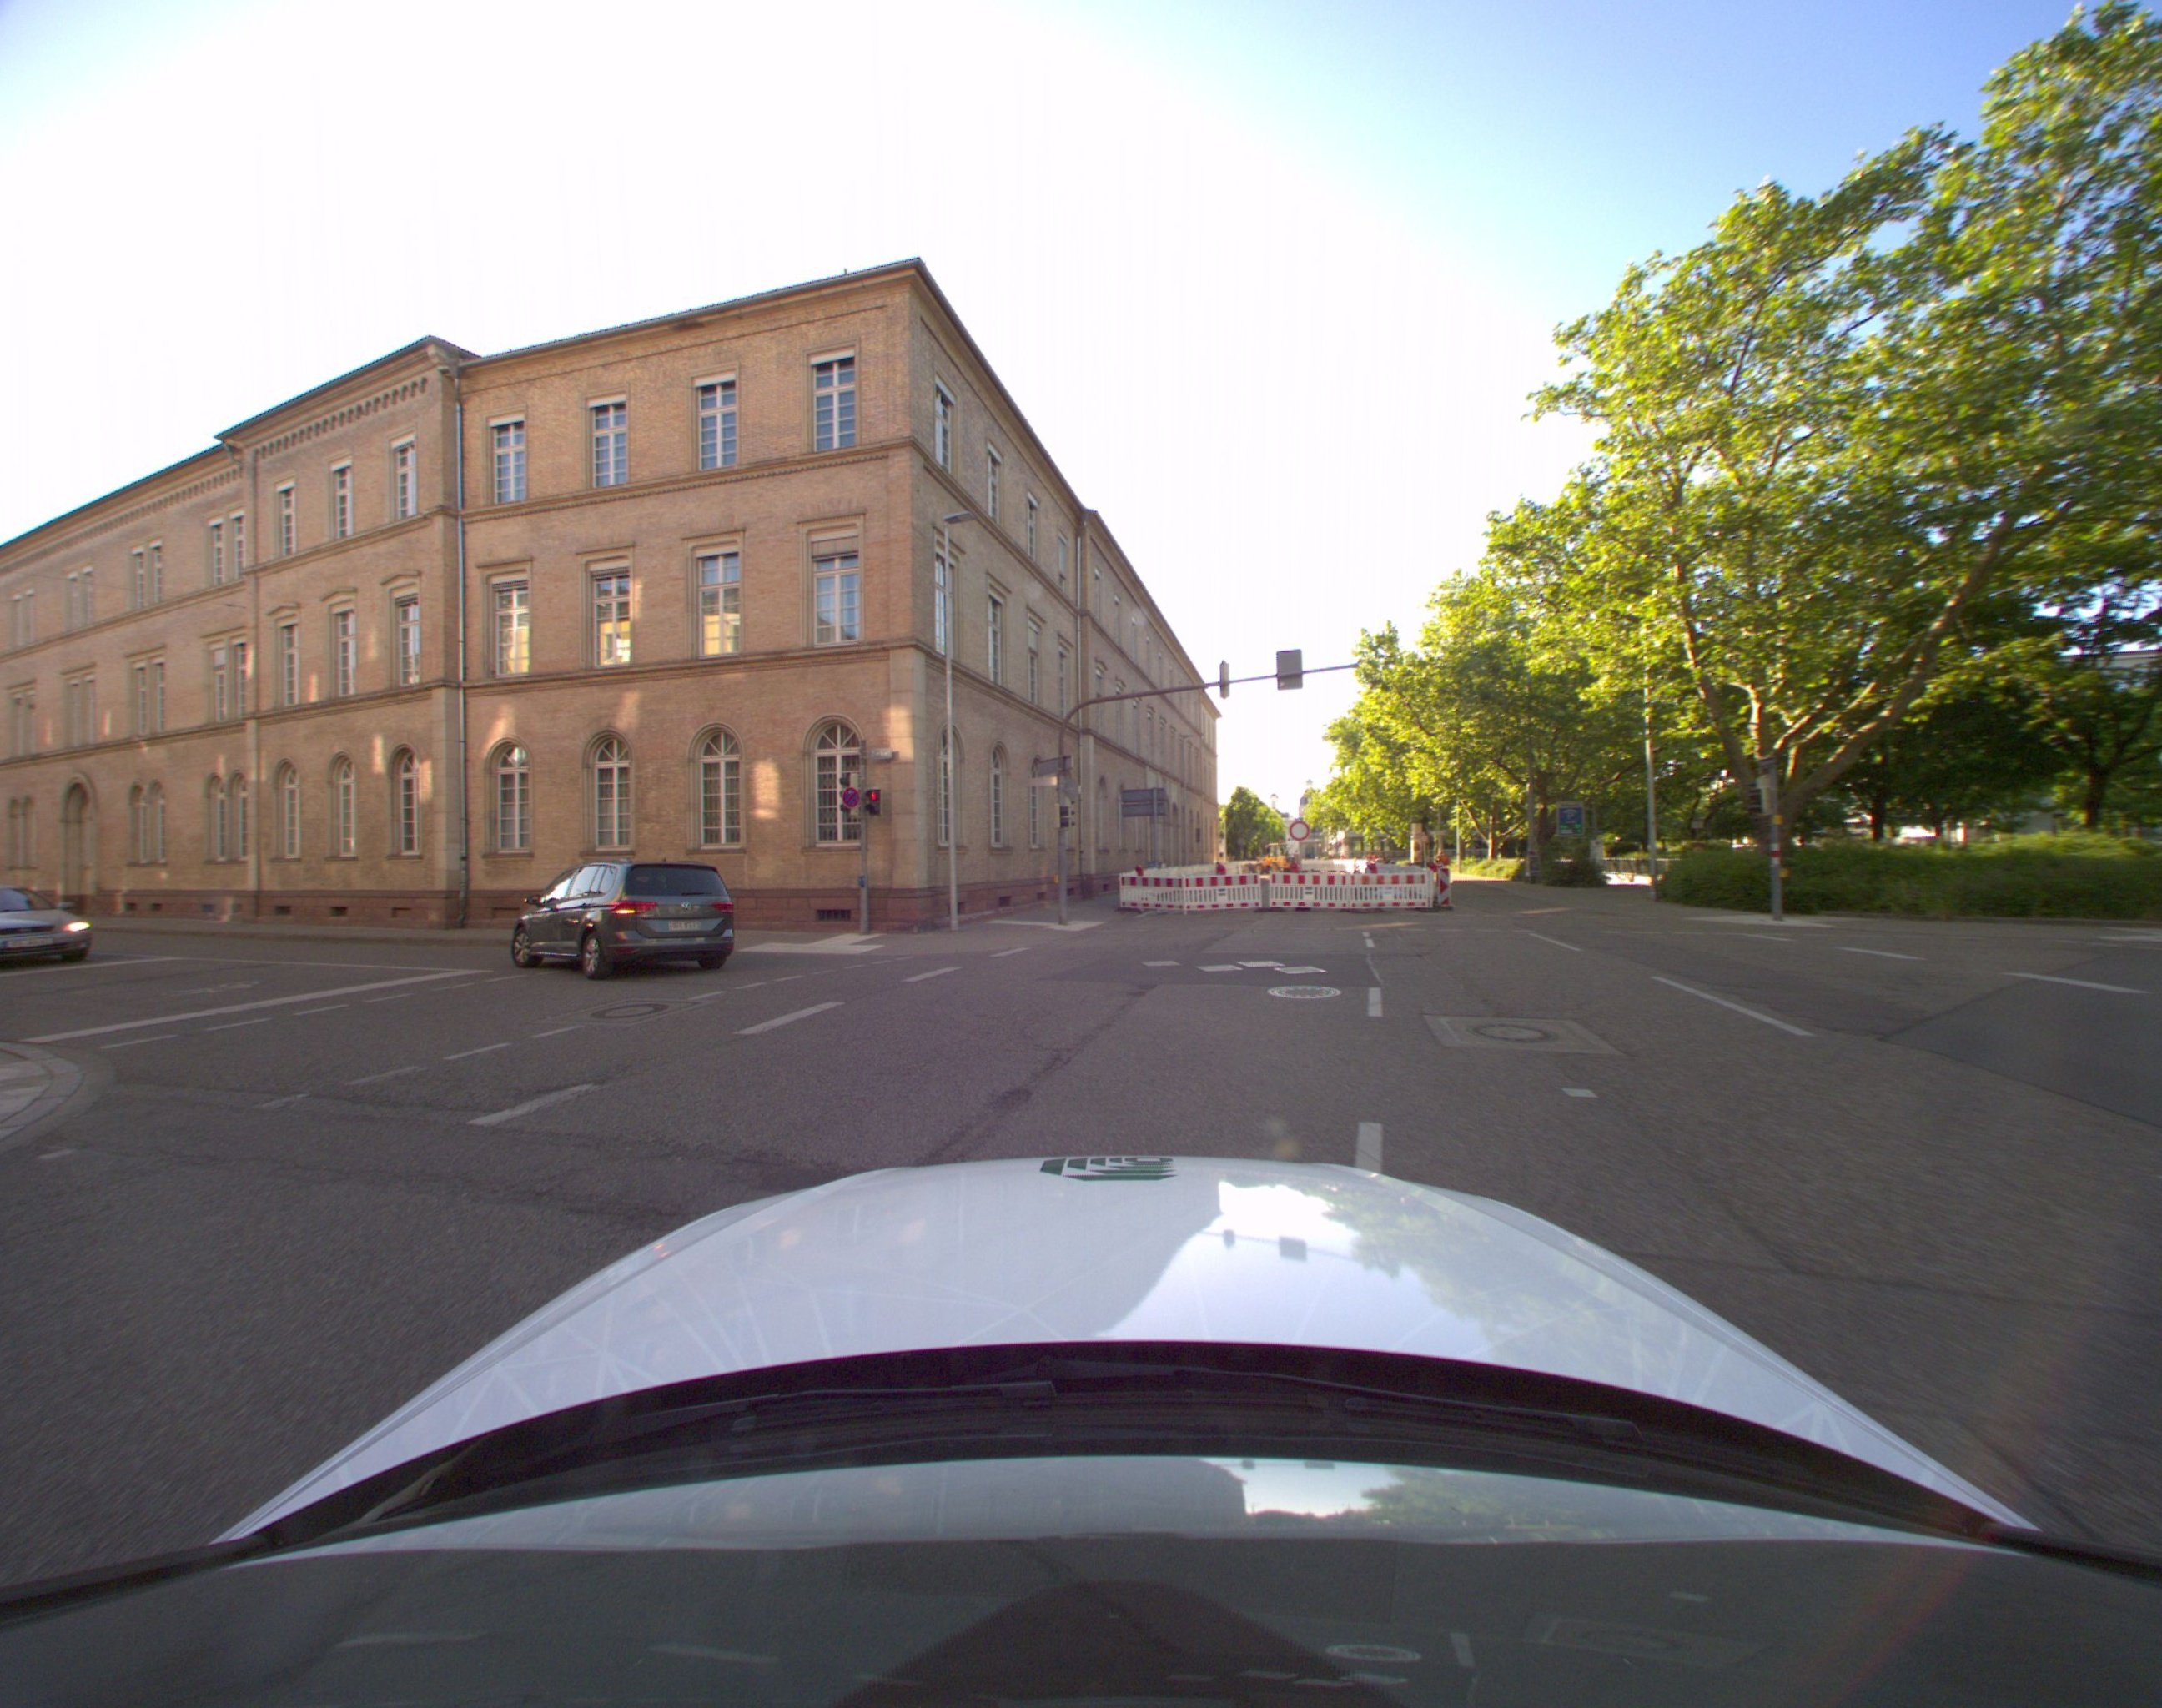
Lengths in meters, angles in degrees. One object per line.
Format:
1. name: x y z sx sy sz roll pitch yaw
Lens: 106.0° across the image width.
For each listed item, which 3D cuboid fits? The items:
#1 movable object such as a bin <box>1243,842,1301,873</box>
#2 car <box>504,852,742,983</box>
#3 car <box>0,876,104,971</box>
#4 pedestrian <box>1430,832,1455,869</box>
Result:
1. movable object such as a bin: 17.457 0.348 74.486 2.482 2.777 4.793 0 -1 -32
2. car: -6.870 0.811 12.073 3.949 1.607 1.779 -1 0 40
3. car: -19.454 1.196 14.345 4.086 1.486 1.757 -1 2 24
4. pedestrian: 26.521 -0.273 59.723 1.405 2.667 1.155 -1 -1 40
